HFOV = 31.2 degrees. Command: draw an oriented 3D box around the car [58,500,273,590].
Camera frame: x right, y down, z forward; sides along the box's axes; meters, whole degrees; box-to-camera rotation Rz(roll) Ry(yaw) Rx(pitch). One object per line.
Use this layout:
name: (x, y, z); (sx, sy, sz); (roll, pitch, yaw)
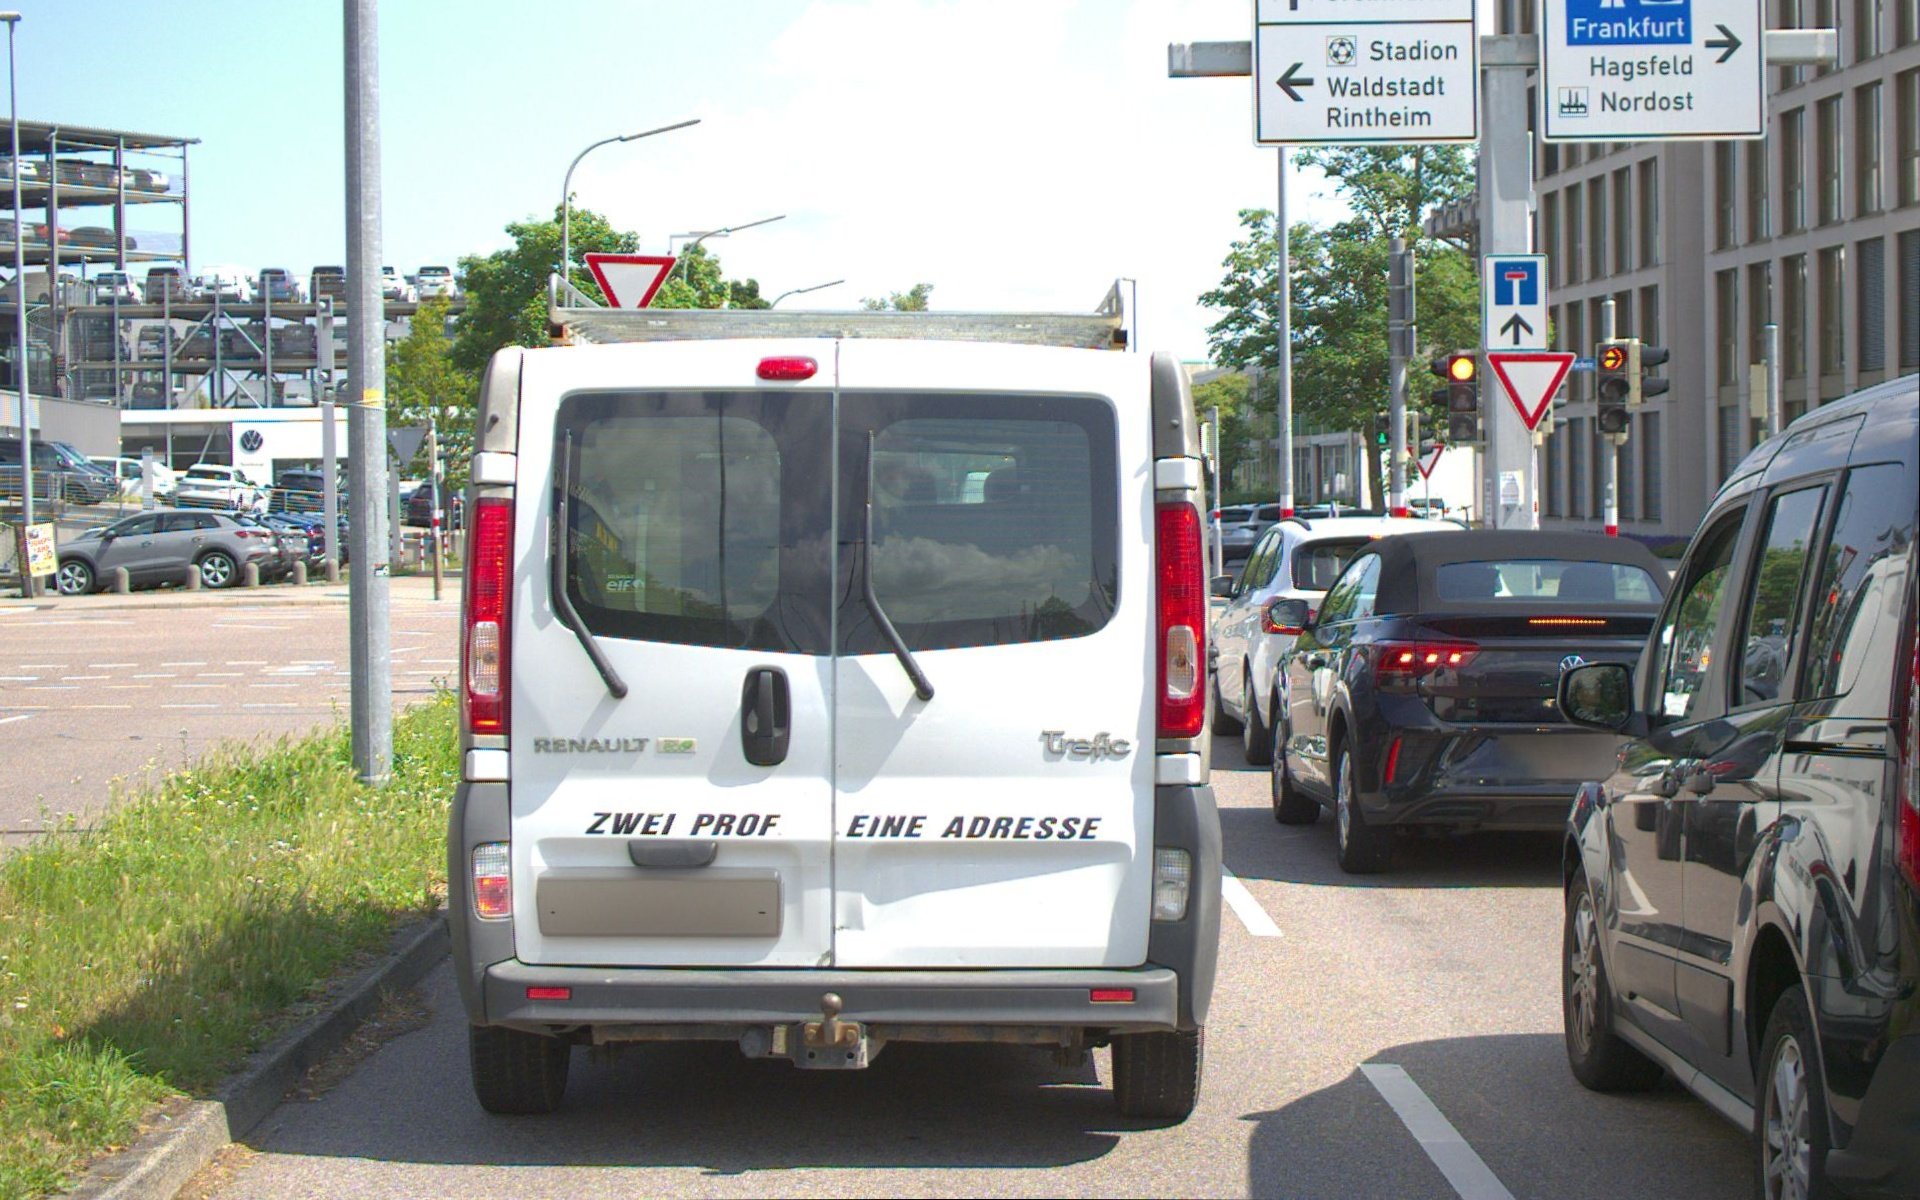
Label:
car: (-15.685, -1.103, 68.027); (3.861, 1.634, 1.858); (-2, 2, -4)

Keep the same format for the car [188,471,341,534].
car: (-19.949, -2.806, 98.742); (4.164, 1.707, 1.689); (1, 2, -6)

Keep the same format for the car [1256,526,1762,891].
car: (2.442, 0.413, 16.218); (1.740, 1.490, 4.000); (1, 1, 0)

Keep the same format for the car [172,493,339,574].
car: (-16.057, -1.533, 78.500); (3.507, 1.707, 1.604); (-2, 2, -4)

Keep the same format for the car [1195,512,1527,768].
car: (2.582, 0.207, 22.984); (1.740, 1.538, 4.000); (1, 1, 0)

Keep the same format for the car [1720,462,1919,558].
car: (15.760, -1.548, 58.870); (4.982, 1.602, 2.000); (0, 2, -3)

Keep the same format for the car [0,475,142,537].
car: (-25.350, -2.651, 97.103); (4.164, 1.707, 1.689); (0, 1, -6)

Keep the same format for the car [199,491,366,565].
car: (-17.071, -1.826, 86.769); (3.912, 1.707, 1.689); (-2, 2, -4)

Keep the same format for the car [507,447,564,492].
car: (-14.867, -4.579, 120.544); (1.846, 1.524, 4.001); (0, 2, -5)

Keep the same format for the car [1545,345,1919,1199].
car: (2.489, 0.444, 7.639); (1.820, 1.802, 4.000); (1, 1, 2)

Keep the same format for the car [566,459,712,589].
car: (-5.893, -1.448, 63.624); (1.971, 2.248, 4.981); (-2, 2, 2)

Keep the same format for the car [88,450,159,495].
car: (-29.419, -4.487, 120.996); (1.846, 1.524, 4.001); (0, 2, -5)

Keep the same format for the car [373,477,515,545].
car: (-14.893, -2.568, 99.340); (3.986, 1.919, 1.827); (0, 1, -7)

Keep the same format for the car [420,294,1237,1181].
car: (-0.257, 0.273, 9.870); (1.856, 2.011, 4.000); (1, 1, 1)

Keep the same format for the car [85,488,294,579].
car: (-15.759, -1.378, 70.470); (3.912, 1.707, 1.689); (-2, 2, -4)

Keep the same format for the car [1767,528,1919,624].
car: (15.068, -0.391, 54.935); (3.893, 1.485, 1.795); (0, 2, -1)

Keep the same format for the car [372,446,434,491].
car: (-19.434, -4.595, 120.052); (1.846, 1.524, 4.001); (0, 2, -5)

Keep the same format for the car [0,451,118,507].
car: (-28.430, -3.750, 106.976); (4.164, 1.707, 1.689); (0, 1, -6)

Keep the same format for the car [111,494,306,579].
car: (-16.387, -1.389, 75.073); (3.912, 1.707, 1.689); (-2, 2, -4)
